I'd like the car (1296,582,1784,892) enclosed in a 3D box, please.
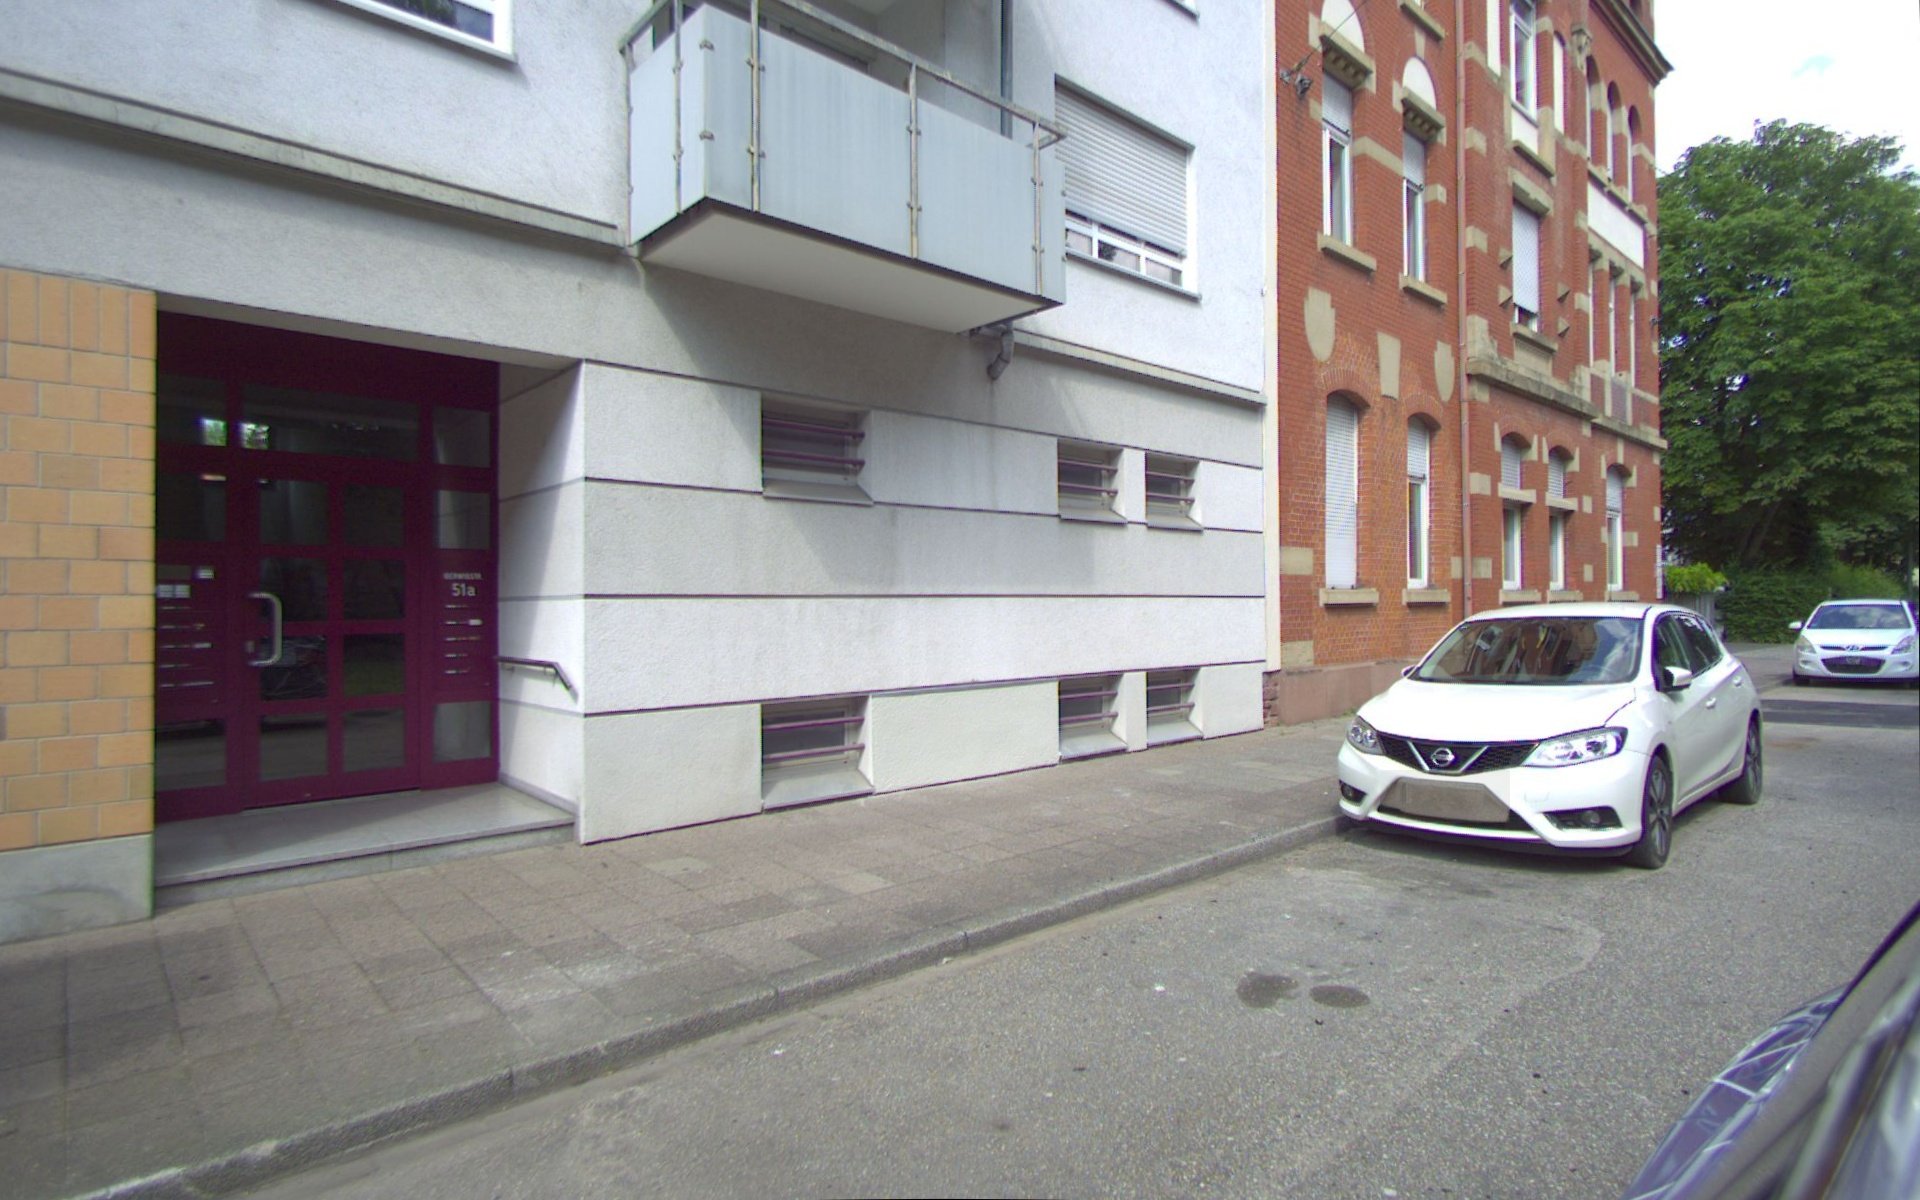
[{"bbox_3d":[4.219,0.696,7.094,3.971,1.549,1.799,0,-1,-42],"label":"car"}]

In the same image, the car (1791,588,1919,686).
[{"bbox_3d":[16.206,0.583,17.847,3.971,1.549,1.798,0,-1,-42],"label":"car"}]
